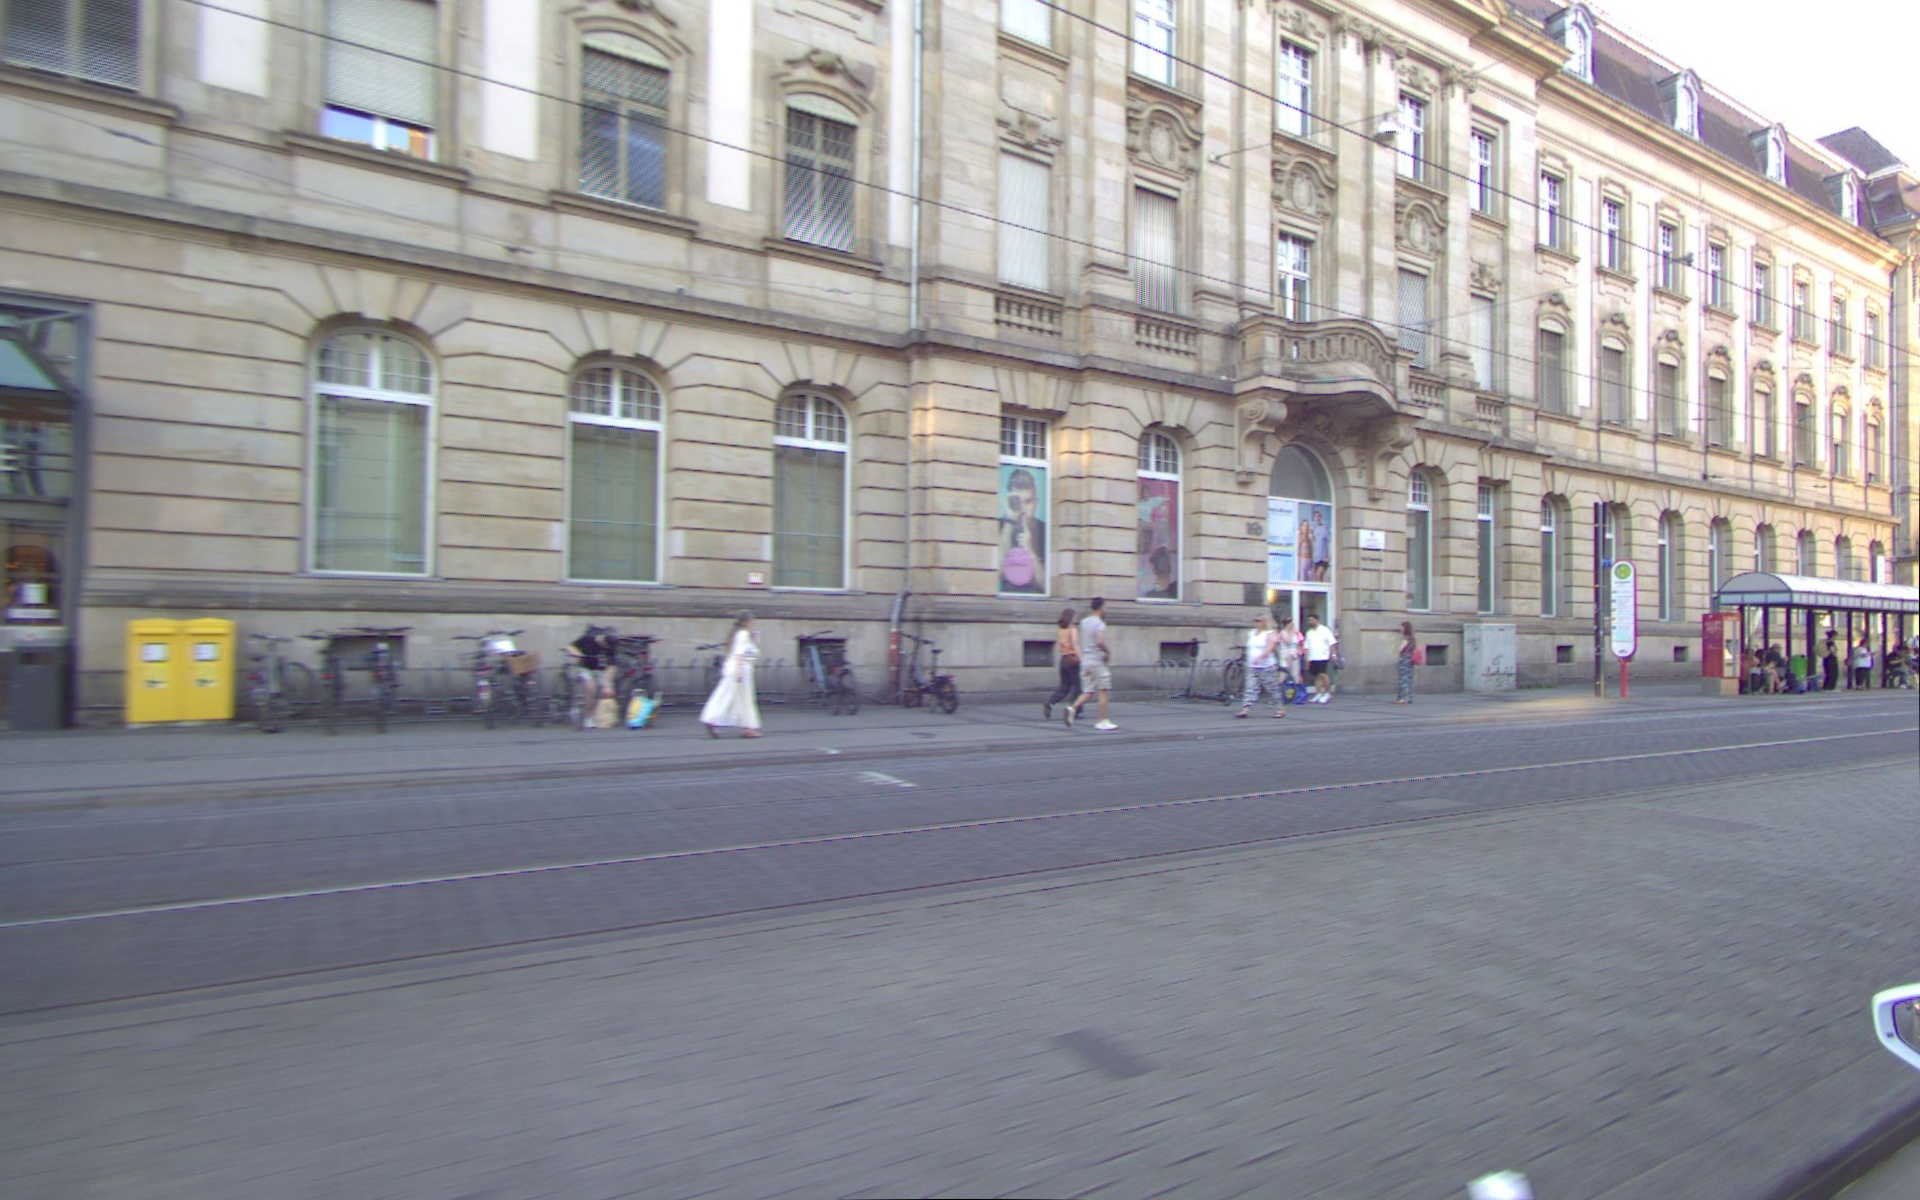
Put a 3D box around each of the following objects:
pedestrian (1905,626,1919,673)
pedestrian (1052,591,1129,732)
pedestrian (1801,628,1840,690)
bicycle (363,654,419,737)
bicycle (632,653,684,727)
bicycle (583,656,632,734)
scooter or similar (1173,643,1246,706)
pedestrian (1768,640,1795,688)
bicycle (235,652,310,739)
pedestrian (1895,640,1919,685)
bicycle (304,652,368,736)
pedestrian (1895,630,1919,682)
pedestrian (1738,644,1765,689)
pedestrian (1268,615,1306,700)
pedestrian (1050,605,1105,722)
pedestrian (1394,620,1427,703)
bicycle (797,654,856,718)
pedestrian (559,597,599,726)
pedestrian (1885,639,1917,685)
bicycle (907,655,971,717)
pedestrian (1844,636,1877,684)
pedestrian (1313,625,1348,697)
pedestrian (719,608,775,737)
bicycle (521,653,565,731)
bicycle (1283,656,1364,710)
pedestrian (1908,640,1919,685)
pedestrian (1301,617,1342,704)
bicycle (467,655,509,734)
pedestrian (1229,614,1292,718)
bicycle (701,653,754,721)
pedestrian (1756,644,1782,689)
[{"bbox_3d":[37.662,1.949,39.491,0.699,1.800,0.617,1,-1,-34],"label":"pedestrian"},{"bbox_3d":[1.748,0.815,13.499,0.801,1.837,0.692,1,-1,-17],"label":"pedestrian"},{"bbox_3d":[23.579,1.618,27.532,0.626,1.672,0.519,2,-2,-8],"label":"pedestrian"},{"bbox_3d":[-7.063,1.159,12.506,0.445,0.885,1.571,2,-1,-25],"label":"bicycle"},{"bbox_3d":[-4.212,1.222,13.953,0.445,0.885,1.571,2,-1,-25],"label":"bicycle"},{"bbox_3d":[-4.692,1.229,13.316,0.445,0.885,1.571,2,-1,-25],"label":"bicycle"},{"bbox_3d":[4.670,1.372,18.870,0.445,1.082,1.542,2,-1,-25],"label":"scooter or similar"},{"bbox_3d":[21.206,1.651,25.935,0.424,1.216,0.363,2,-1,-24],"label":"pedestrian"},{"bbox_3d":[-8.123,1.099,11.910,0.445,0.885,1.571,2,-1,-25],"label":"bicycle"},{"bbox_3d":[28.742,1.884,30.376,0.630,1.345,0.516,2,-2,-27],"label":"pedestrian"},{"bbox_3d":[-7.589,1.111,12.265,0.445,0.885,1.571,2,-1,-25],"label":"bicycle"},{"bbox_3d":[30.990,1.829,32.764,0.630,1.667,0.516,2,-2,-27],"label":"pedestrian"},{"bbox_3d":[19.935,1.672,25.306,0.424,1.117,0.363,2,-1,-24],"label":"pedestrian"},{"bbox_3d":[6.505,1.139,19.983,0.597,1.664,0.334,2,-1,-23],"label":"pedestrian"},{"bbox_3d":[1.792,0.961,15.406,0.799,1.734,0.695,1,-1,6],"label":"pedestrian"},{"bbox_3d":[9.027,1.213,20.148,0.432,1.626,0.572,2,-1,8],"label":"pedestrian"},{"bbox_3d":[-2.124,1.334,15.831,0.445,0.885,1.571,2,-1,-25],"label":"bicycle"},{"bbox_3d":[-4.991,0.794,13.163,0.424,1.655,0.363,2,-1,-24],"label":"pedestrian"},{"bbox_3d":[28.091,1.858,29.985,0.630,1.345,0.516,2,-2,-27],"label":"pedestrian"},{"bbox_3d":[-0.368,1.389,16.482,0.445,0.885,1.571,2,-1,-25],"label":"bicycle"},{"bbox_3d":[25.810,1.706,28.784,0.630,1.345,0.516,2,-2,-27],"label":"pedestrian"},{"bbox_3d":[7.711,1.265,20.941,0.560,1.459,0.441,2,-1,6],"label":"pedestrian"},{"bbox_3d":[-2.542,0.849,11.978,0.547,1.486,0.691,1,-1,-19],"label":"pedestrian"},{"bbox_3d":[-5.506,1.183,13.230,0.445,0.885,1.571,2,-1,-25],"label":"bicycle"},{"bbox_3d":[6.821,1.545,18.925,0.445,0.885,1.571,2,-1,-25],"label":"bicycle"},{"bbox_3d":[29.516,1.914,30.754,0.630,1.345,0.516,2,-2,-27],"label":"pedestrian"},{"bbox_3d":[7.111,1.179,19.749,0.555,1.664,0.474,2,-1,-25],"label":"pedestrian"},{"bbox_3d":[-6.099,1.196,13.001,0.445,0.885,1.571,2,-1,-25],"label":"bicycle"},{"bbox_3d":[4.690,1.014,15.677,0.672,1.582,0.656,1,-1,-31],"label":"pedestrian"},{"bbox_3d":[-3.481,1.270,14.973,0.445,0.885,1.571,2,-1,-25],"label":"bicycle"},{"bbox_3d":[20.508,1.692,25.467,0.424,1.117,0.363,2,-1,-24],"label":"pedestrian"}]
